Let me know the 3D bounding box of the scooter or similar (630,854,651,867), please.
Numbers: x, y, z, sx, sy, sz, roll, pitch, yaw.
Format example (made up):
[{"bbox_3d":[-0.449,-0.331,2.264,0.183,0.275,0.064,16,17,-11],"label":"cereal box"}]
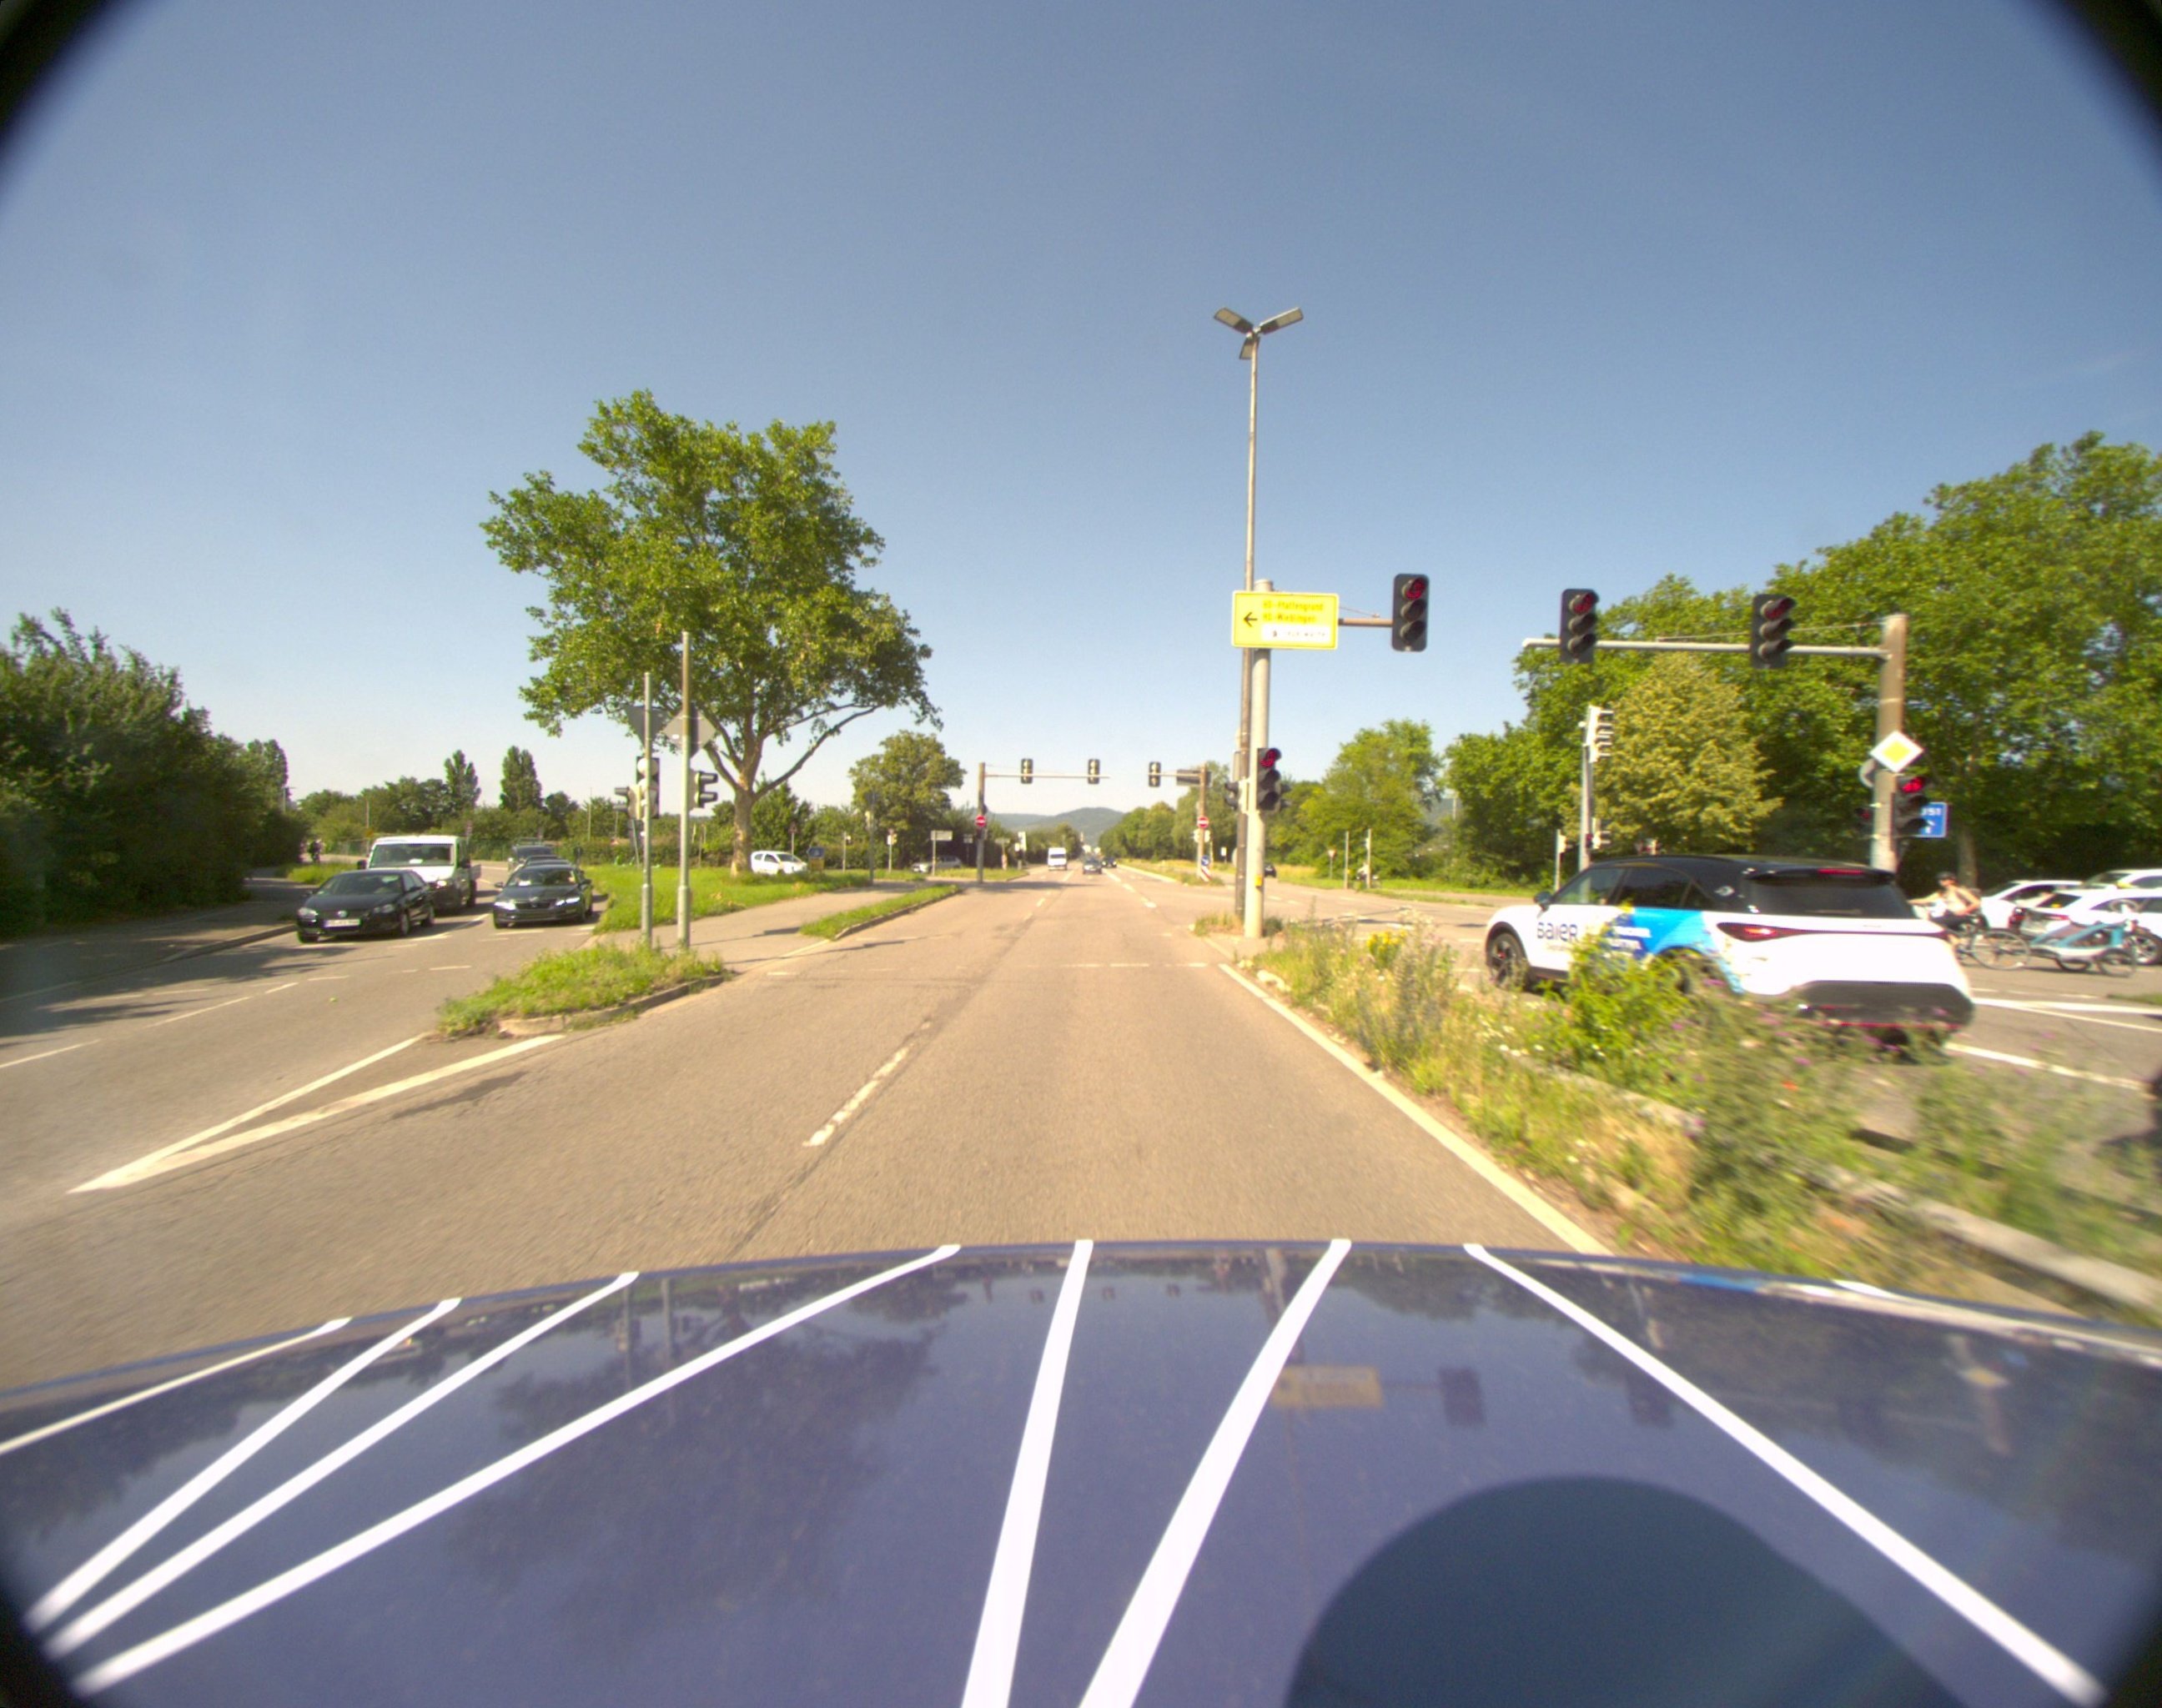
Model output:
[{"bbox_3d":[-36.152,0.533,62.332,1.384,1.111,0.500,0,1,-6],"label":"scooter or similar"}]

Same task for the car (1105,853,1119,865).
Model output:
[{"bbox_3d":[3.845,0.580,95.875,1.678,1.435,3.622,0,0,1],"label":"car"}]

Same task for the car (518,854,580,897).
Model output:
[{"bbox_3d":[-22.406,0.819,31.929,1.890,1.625,4.456,-2,1,-38],"label":"car"}]

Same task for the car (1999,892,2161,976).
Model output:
[{"bbox_3d":[21.655,1.620,14.493,4.955,1.456,1.822,2,0,37],"label":"car"}]

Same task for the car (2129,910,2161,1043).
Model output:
[{"bbox_3d":[12.297,1.361,6.471,1.489,1.406,3.762,4,0,1],"label":"car"}]

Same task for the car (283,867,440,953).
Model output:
[{"bbox_3d":[-15.921,1.138,17.046,1.624,1.539,3.815,-2,2,-29],"label":"car"}]

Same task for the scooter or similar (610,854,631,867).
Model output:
[{"bbox_3d":[-37.685,0.530,62.148,1.384,1.111,0.500,0,1,-6],"label":"scooter or similar"}]

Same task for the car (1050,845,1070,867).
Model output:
[{"bbox_3d":[-2.259,0.197,84.435,1.998,2.432,5.088,0,0,1],"label":"car"}]

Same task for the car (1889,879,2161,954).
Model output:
[{"bbox_3d":[25.172,1.591,20.527,4.255,1.596,2.009,2,0,36],"label":"car"}]

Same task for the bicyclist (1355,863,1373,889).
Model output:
[{"bbox_3d":[16.402,1.275,44.069,0.848,1.508,0.747,0,0,6],"label":"bicyclist"}]

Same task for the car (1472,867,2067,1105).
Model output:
[{"bbox_3d":[5.935,0.965,7.460,2.015,1.600,4.211,2,-1,0],"label":"car"}]

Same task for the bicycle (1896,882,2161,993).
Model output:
[{"bbox_3d":[16.352,1.373,13.159,2.793,1.660,1.138,1,1,28],"label":"bicycle"}]

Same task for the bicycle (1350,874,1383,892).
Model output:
[{"bbox_3d":[16.597,1.683,44.233,1.679,1.035,0.747,0,0,6],"label":"bicycle"}]

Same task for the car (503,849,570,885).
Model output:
[{"bbox_3d":[-26.688,0.598,37.169,4.456,1.625,1.891,0,1,45],"label":"car"}]

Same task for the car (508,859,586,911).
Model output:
[{"bbox_3d":[-18.288,0.980,26.190,2.003,1.519,4.457,-1,1,-33],"label":"car"}]

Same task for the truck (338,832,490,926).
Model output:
[{"bbox_3d":[-19.702,0.591,22.824,2.349,2.373,6.458,-2,2,-32],"label":"truck"}]

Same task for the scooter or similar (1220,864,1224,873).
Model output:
[{"bbox_3d":[20.430,2.085,109.953,0.369,1.179,1.340,3,1,1],"label":"scooter or similar"}]

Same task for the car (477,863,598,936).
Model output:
[{"bbox_3d":[-13.610,1.035,19.314,2.003,1.538,4.605,0,1,-29],"label":"car"}]

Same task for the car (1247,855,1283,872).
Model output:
[{"bbox_3d":[17.713,0.916,73.359,2.000,1.487,4.281,1,1,-6],"label":"car"}]

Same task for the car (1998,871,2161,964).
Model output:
[{"bbox_3d":[24.375,1.436,16.927,4.641,1.939,2.004,2,0,36],"label":"car"}]

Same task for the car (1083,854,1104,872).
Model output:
[{"bbox_3d":[1.074,0.764,64.335,1.678,1.435,4.361,0,0,1],"label":"car"}]

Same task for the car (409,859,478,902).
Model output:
[{"bbox_3d":[-24.766,0.974,29.628,1.894,1.412,3.988,-2,2,-38],"label":"car"}]

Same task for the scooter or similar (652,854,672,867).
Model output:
[{"bbox_3d":[-34.593,0.535,62.794,1.385,1.111,0.499,0,1,-18],"label":"scooter or similar"}]

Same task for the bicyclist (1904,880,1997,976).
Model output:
[{"bbox_3d":[15.595,1.297,13.656,0.862,1.609,0.760,1,1,29],"label":"bicyclist"}]

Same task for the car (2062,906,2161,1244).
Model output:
[{"bbox_3d":[5.669,1.015,1.247,1.821,1.476,4.894,2,0,2],"label":"car"}]

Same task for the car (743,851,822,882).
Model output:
[{"bbox_3d":[-15.330,0.609,39.024,3.745,1.460,1.789,1,0,29],"label":"car"}]

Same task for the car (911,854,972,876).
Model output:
[{"bbox_3d":[-11.434,0.917,62.393,1.902,1.670,4.694,2,0,42],"label":"car"}]
